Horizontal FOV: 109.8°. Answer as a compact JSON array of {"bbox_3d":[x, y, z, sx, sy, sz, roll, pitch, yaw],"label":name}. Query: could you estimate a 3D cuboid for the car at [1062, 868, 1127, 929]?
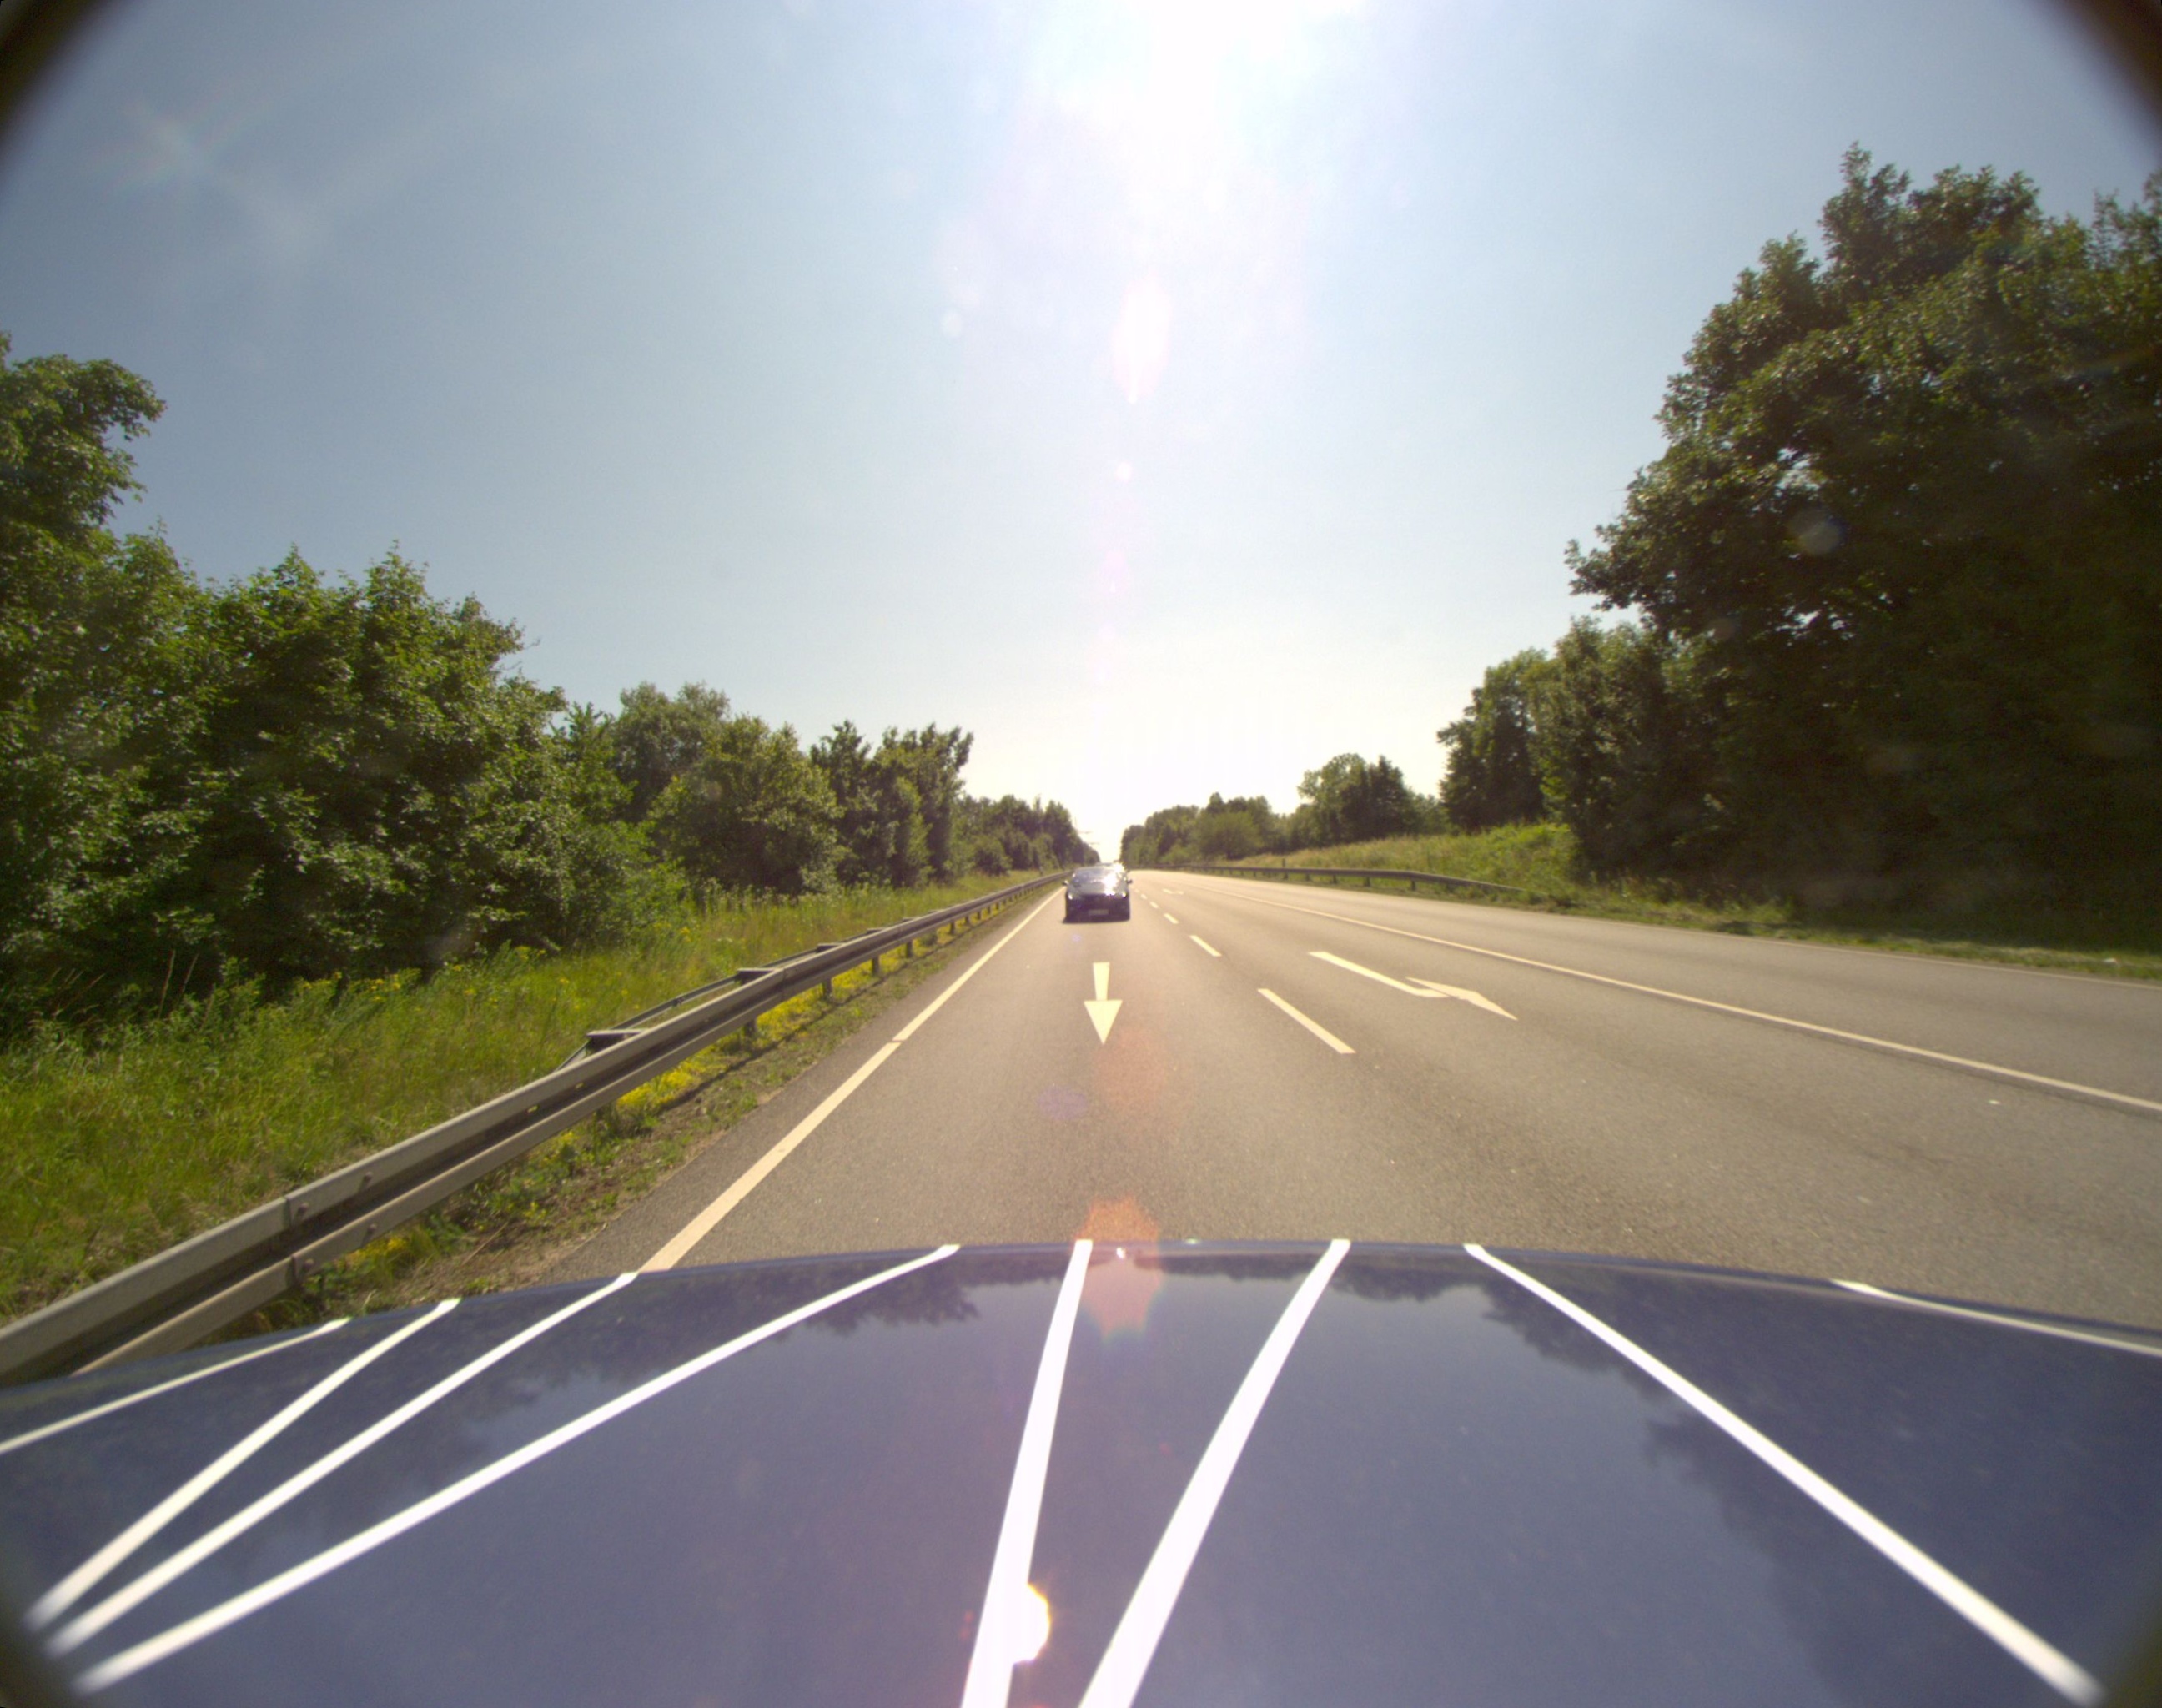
[{"bbox_3d":[0.389,1.096,19.857,1.529,1.387,3.444,-1,0,2],"label":"car"}]
